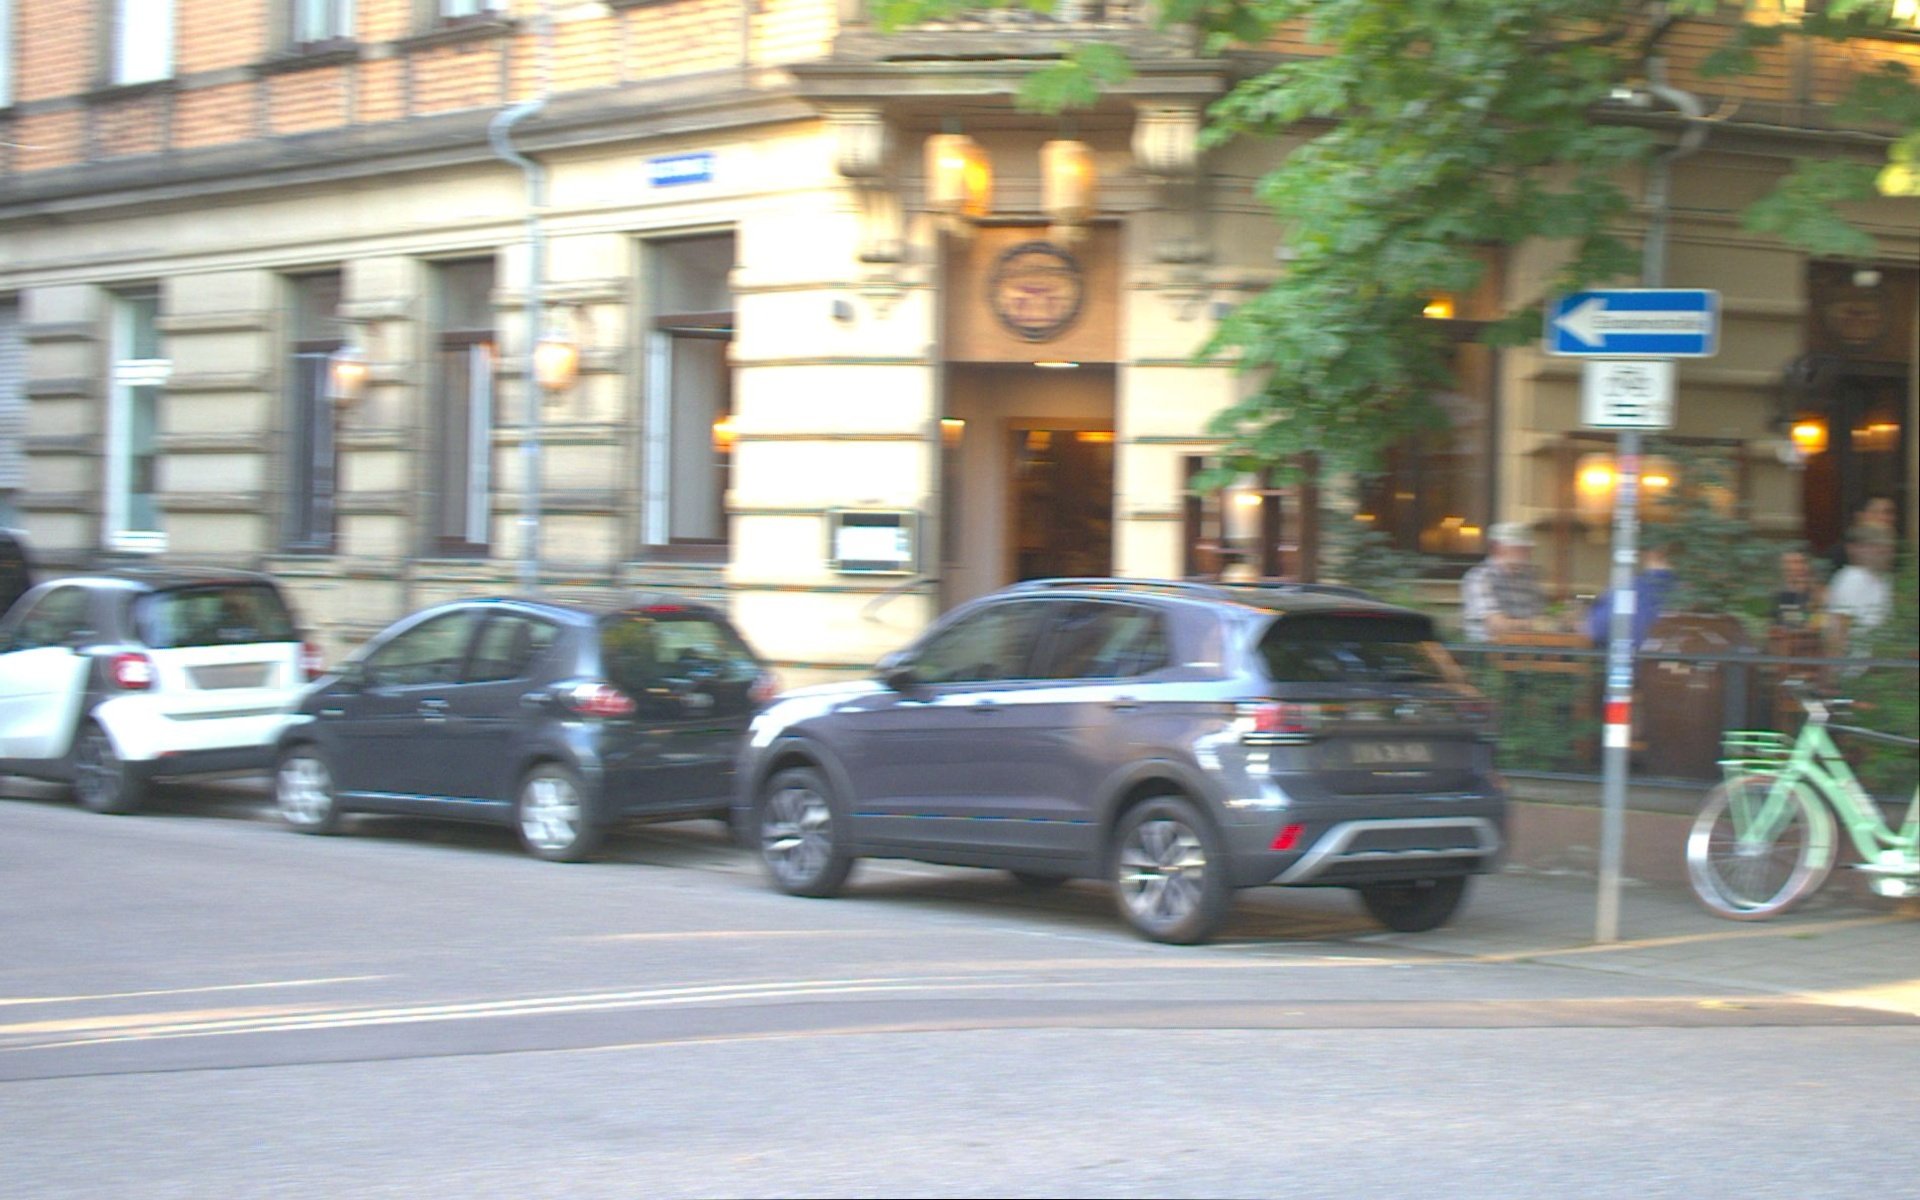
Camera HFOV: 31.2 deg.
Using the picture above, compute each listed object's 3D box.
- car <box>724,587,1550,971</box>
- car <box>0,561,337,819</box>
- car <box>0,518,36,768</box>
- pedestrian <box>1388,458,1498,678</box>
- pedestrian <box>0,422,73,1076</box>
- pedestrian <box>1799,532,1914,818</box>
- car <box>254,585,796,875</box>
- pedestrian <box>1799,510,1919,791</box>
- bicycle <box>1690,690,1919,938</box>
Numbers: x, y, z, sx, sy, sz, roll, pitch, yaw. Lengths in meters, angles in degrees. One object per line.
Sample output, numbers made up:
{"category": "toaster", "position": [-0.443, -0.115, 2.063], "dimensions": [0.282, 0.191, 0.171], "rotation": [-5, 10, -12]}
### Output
{"category": "car", "position": [0.723, 0.729, 16.139], "dimensions": [1.628, 1.540, 3.856], "rotation": [0, 1, -42]}
{"category": "car", "position": [-5.688, 0.539, 23.064], "dimensions": [1.463, 1.589, 3.332], "rotation": [0, 1, -41]}
{"category": "car", "position": [-8.544, 0.292, 25.785], "dimensions": [1.684, 1.817, 3.486], "rotation": [0, 1, -43]}
{"category": "pedestrian", "position": [3.131, -0.209, 22.272], "dimensions": [0.462, 1.407, 0.524], "rotation": [0, 1, -37]}
{"category": "pedestrian", "position": [-3.447, 0.449, 10.675], "dimensions": [1.006, 2.007, 0.868], "rotation": [1, 0, -43]}
{"category": "pedestrian", "position": [4.620, 0.376, 17.717], "dimensions": [0.429, 1.446, 0.463], "rotation": [1, 1, 36]}
{"category": "car", "position": [-2.591, 0.684, 20.029], "dimensions": [1.463, 1.453, 3.332], "rotation": [0, 2, -42]}
{"category": "pedestrian", "position": [4.945, 0.267, 18.859], "dimensions": [0.524, 1.514, 0.463], "rotation": [1, 1, 36]}
{"category": "bicycle", "position": [4.340, 0.994, 15.953], "dimensions": [1.826, 1.094, 0.392], "rotation": [1, 1, 29]}
